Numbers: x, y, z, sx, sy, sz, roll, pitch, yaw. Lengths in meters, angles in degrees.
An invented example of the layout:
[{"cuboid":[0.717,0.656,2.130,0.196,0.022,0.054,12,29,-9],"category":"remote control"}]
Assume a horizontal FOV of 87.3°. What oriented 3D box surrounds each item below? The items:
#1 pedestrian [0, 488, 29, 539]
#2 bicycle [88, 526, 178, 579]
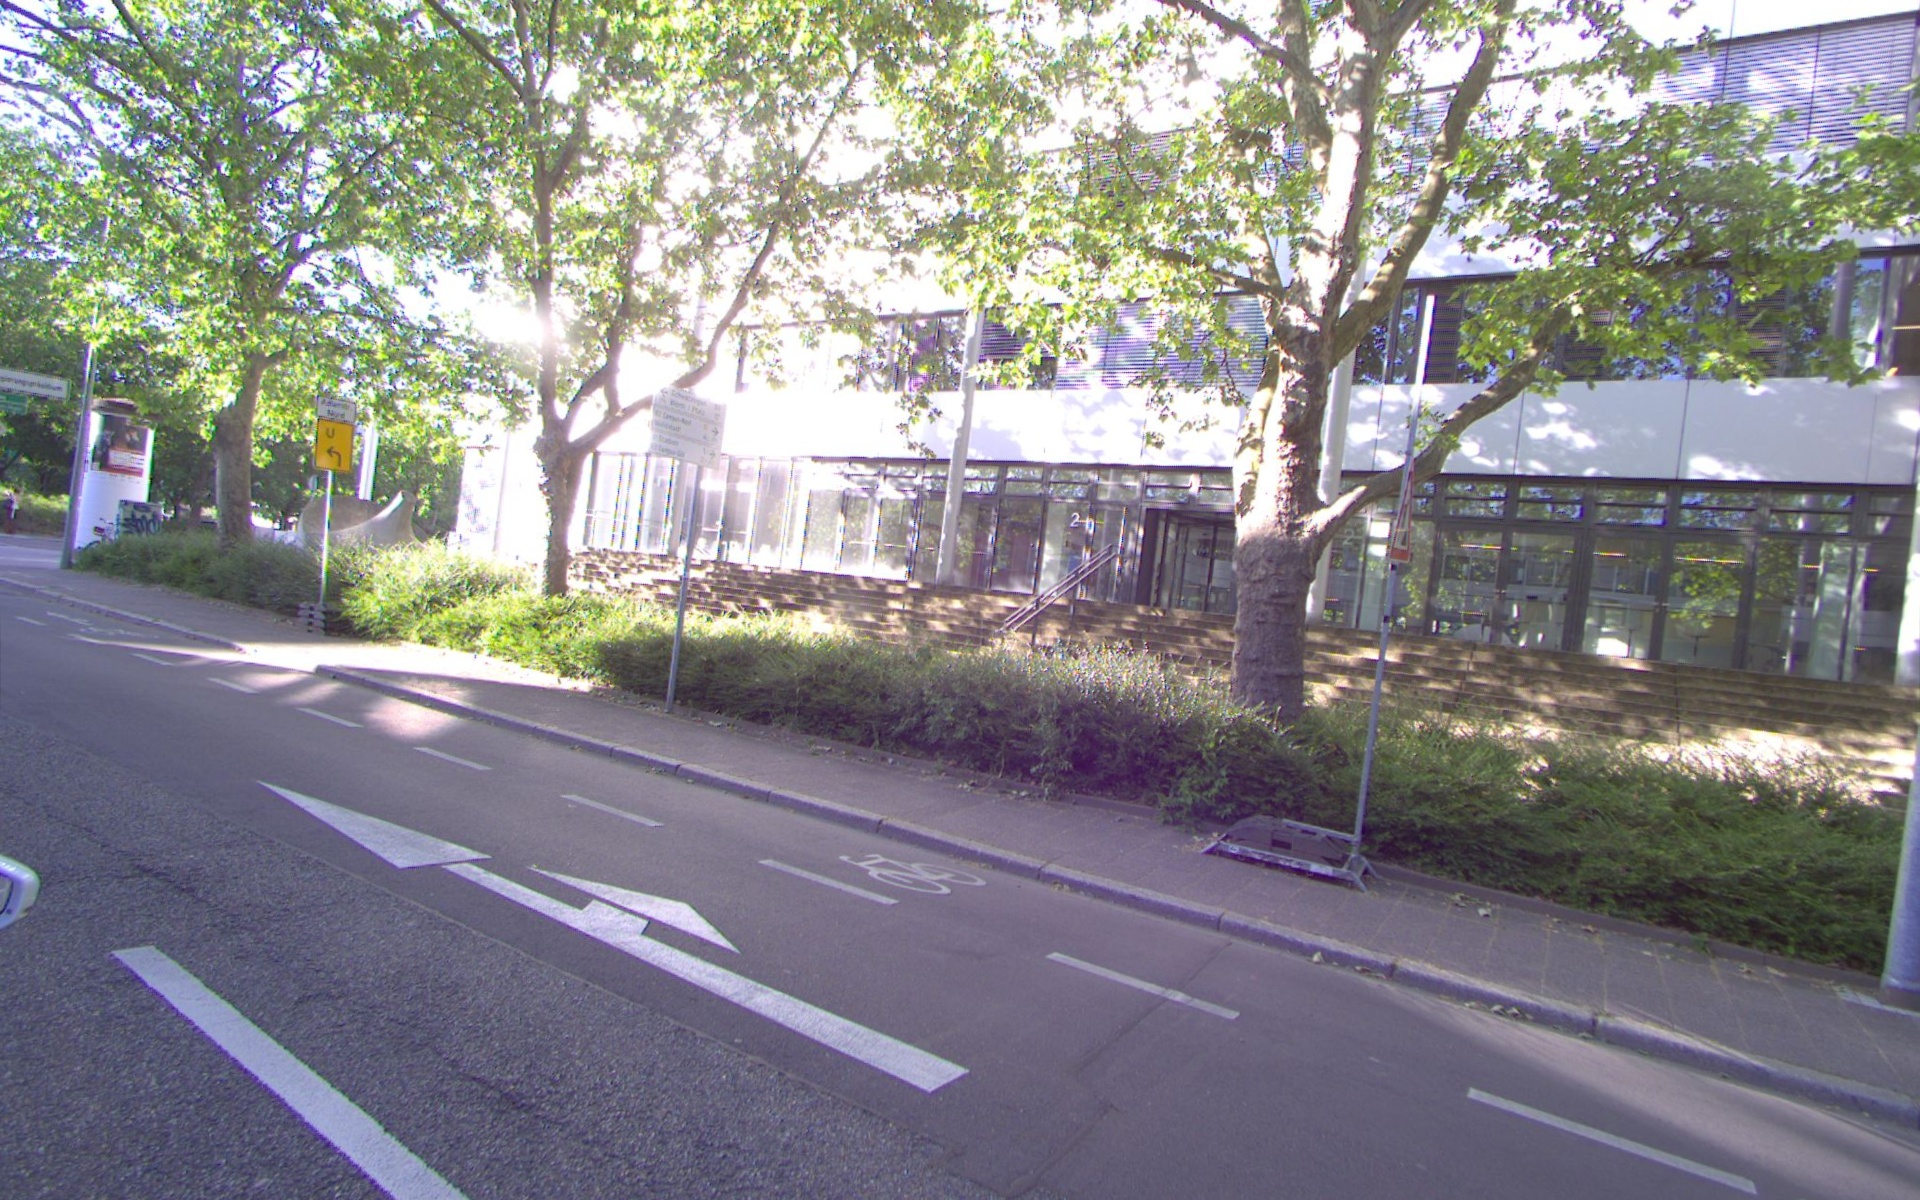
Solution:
[{"cuboid":[-36.189,-3.289,38.395,0.672,1.793,0.613,8,-1,-29],"category":"pedestrian"},{"cuboid":[-19.039,-1.073,23.184,0.295,0.991,1.484,6,-2,37],"category":"bicycle"}]
